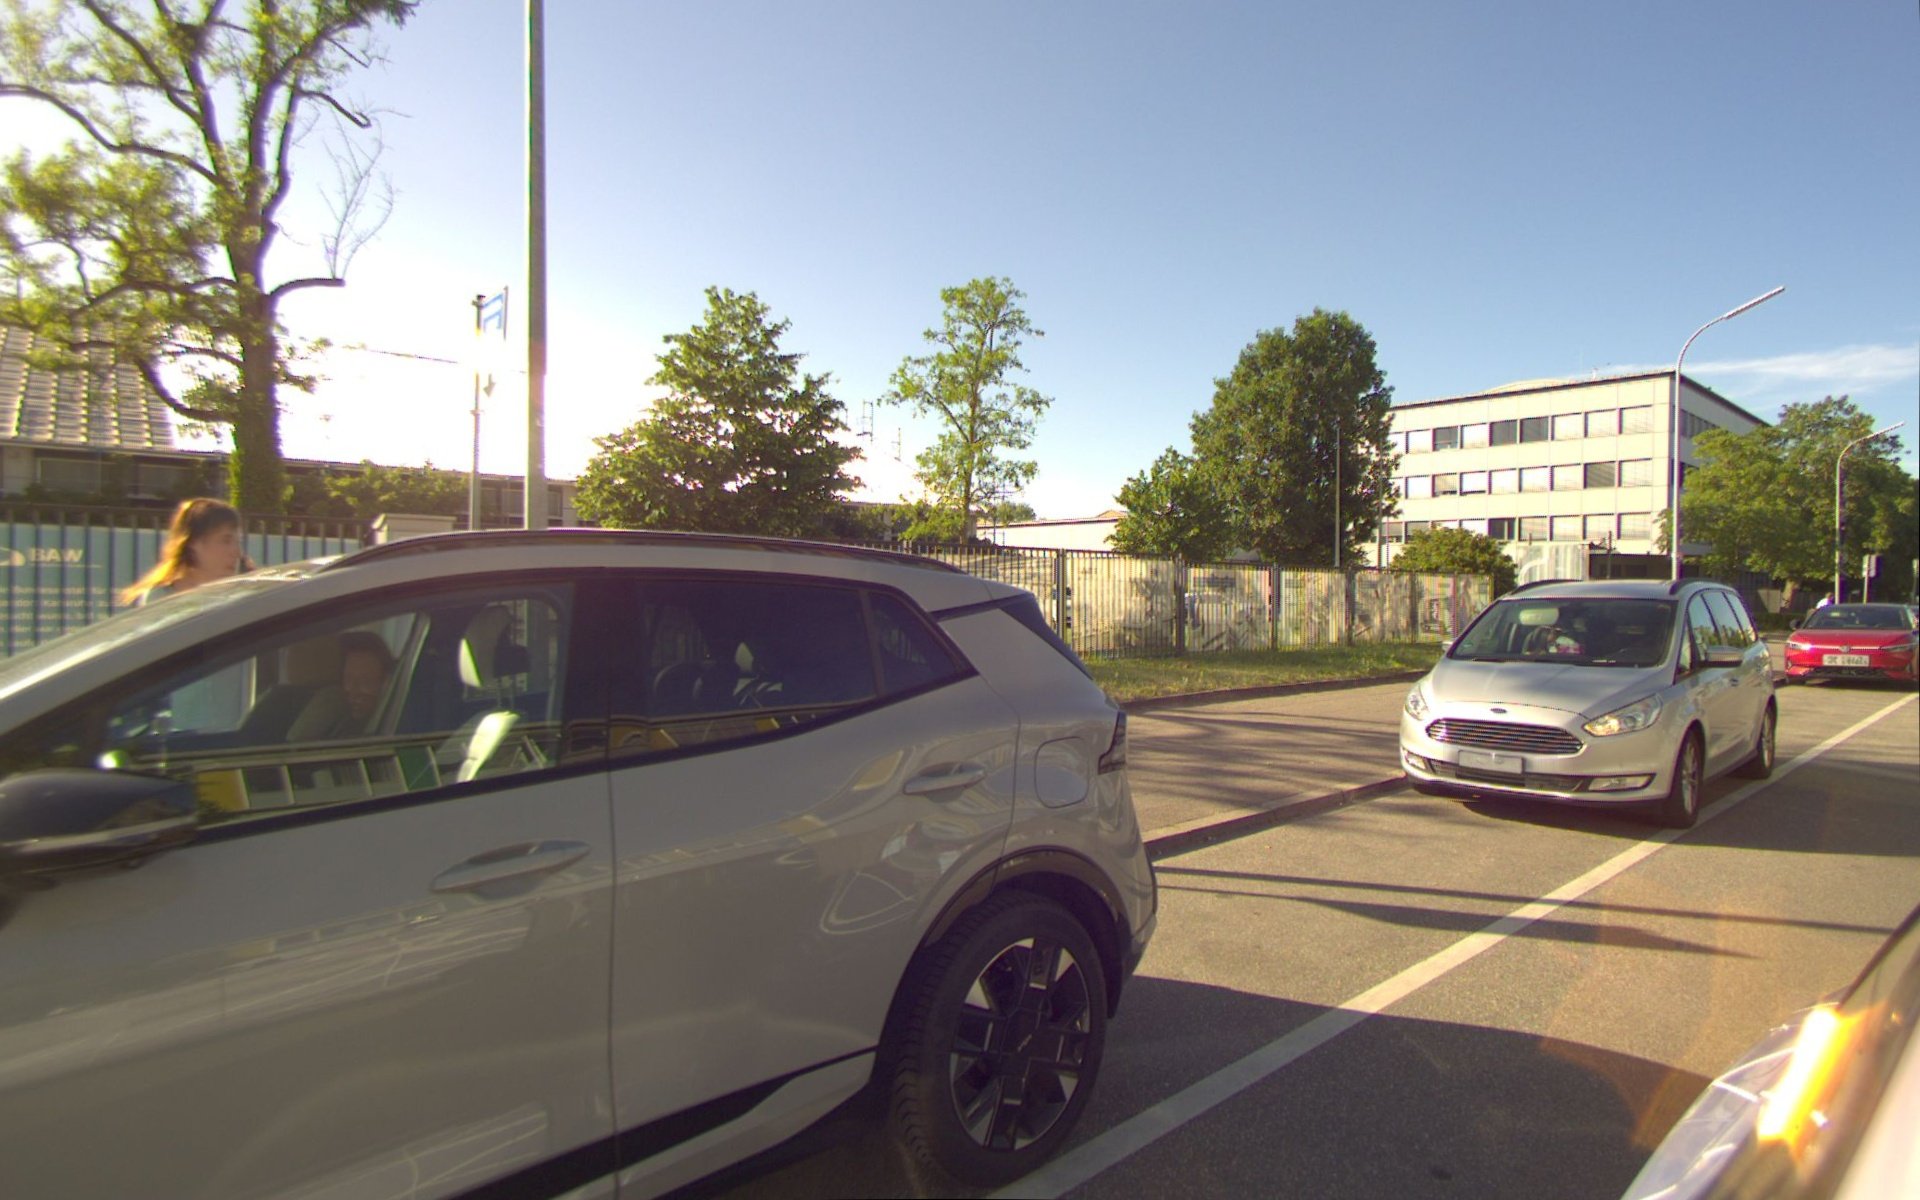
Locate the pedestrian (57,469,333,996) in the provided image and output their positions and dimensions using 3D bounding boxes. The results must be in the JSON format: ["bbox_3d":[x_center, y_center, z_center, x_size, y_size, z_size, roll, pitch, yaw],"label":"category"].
[{"bbox_3d":[-2.692,0.409,3.575,0.538,1.632,0.673,-2,-1,40],"label":"pedestrian"}]

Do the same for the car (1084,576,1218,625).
[{"bbox_3d":[7.078,-0.018,37.906,4.629,1.689,1.968,2,1,44],"label":"car"}]

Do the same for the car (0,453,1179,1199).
[{"bbox_3d":[-1.517,0.624,2.229,4.277,1.627,1.703,0,-1,-41],"label":"car"}]

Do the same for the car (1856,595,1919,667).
[{"bbox_3d":[21.591,0.654,22.768,4.143,1.506,1.702,0,-1,-43],"label":"car"}]

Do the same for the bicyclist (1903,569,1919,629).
[{"bbox_3d":[33.325,-0.019,34.910,0.943,2.038,1.051,2,1,-43],"label":"bicyclist"}]

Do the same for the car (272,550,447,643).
[{"bbox_3d":[-12.352,-0.032,20.668,2.060,1.665,4.969,0,-1,-43],"label":"car"}]

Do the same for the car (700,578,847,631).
[{"bbox_3d":[-4.893,0.132,26.173,1.798,1.268,4.146,0,-1,-43],"label":"car"}]

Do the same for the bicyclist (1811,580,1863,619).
[{"bbox_3d":[30.014,-0.019,34.642,0.844,1.284,1.102,1,0,-26],"label":"bicyclist"}]

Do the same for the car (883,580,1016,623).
[{"bbox_3d":[-0.388,0.064,31.499,1.848,1.268,4.146,0,-1,-43],"label":"car"}]

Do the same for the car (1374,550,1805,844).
[{"bbox_3d":[5.324,0.576,8.256,4.624,1.744,1.811,0,-1,-43],"label":"car"}]

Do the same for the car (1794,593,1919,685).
[{"bbox_3d":[17.276,0.658,19.037,4.641,1.529,1.811,0,-1,-43],"label":"car"}]

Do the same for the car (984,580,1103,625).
[{"bbox_3d":[2.783,0.051,34.133,1.647,1.397,3.892,0,1,-44],"label":"car"}]

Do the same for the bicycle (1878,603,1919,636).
[{"bbox_3d":[33.148,0.707,35.056,0.689,1.021,1.882,7,0,-43],"label":"bicycle"}]
